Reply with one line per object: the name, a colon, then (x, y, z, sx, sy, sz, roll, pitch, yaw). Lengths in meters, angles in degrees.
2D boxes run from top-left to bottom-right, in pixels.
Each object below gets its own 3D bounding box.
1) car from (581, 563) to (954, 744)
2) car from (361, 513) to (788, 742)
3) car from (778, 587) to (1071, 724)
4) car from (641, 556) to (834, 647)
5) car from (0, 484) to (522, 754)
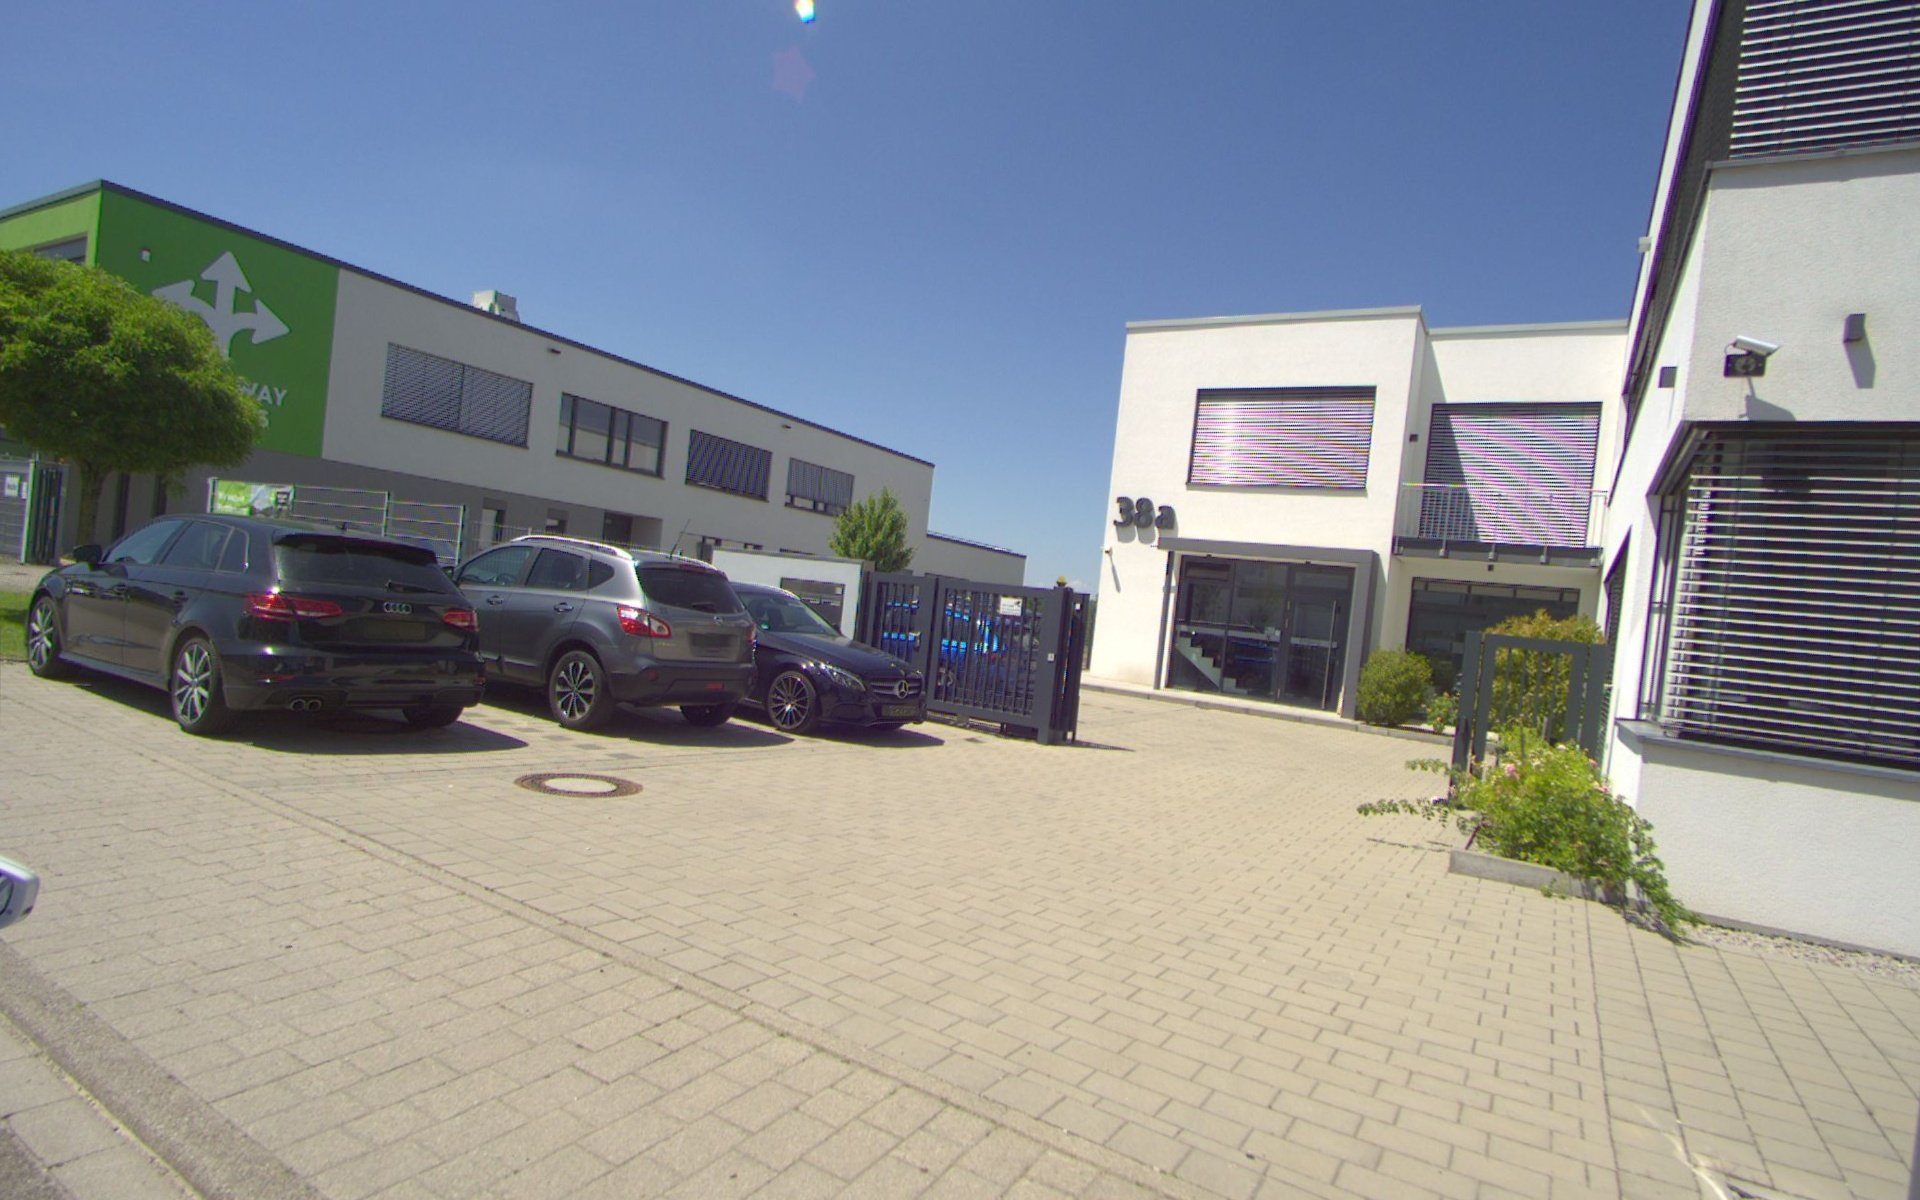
car: (-2.260, 0.553, 11.518, 3.955, 1.467, 1.725, 7, -1, 31)
car: (-3.846, 0.208, 9.867, 3.955, 1.653, 1.725, 7, -1, 31)
car: (-0.576, 0.787, 15.015, 3.955, 1.453, 1.725, 7, -1, 31)
car: (-4.969, 0.028, 22.364, 3.988, 1.657, 1.740, 4, -1, 31)
car: (-5.485, 0.058, 7.728, 4.175, 1.445, 1.695, 7, -1, 31)
